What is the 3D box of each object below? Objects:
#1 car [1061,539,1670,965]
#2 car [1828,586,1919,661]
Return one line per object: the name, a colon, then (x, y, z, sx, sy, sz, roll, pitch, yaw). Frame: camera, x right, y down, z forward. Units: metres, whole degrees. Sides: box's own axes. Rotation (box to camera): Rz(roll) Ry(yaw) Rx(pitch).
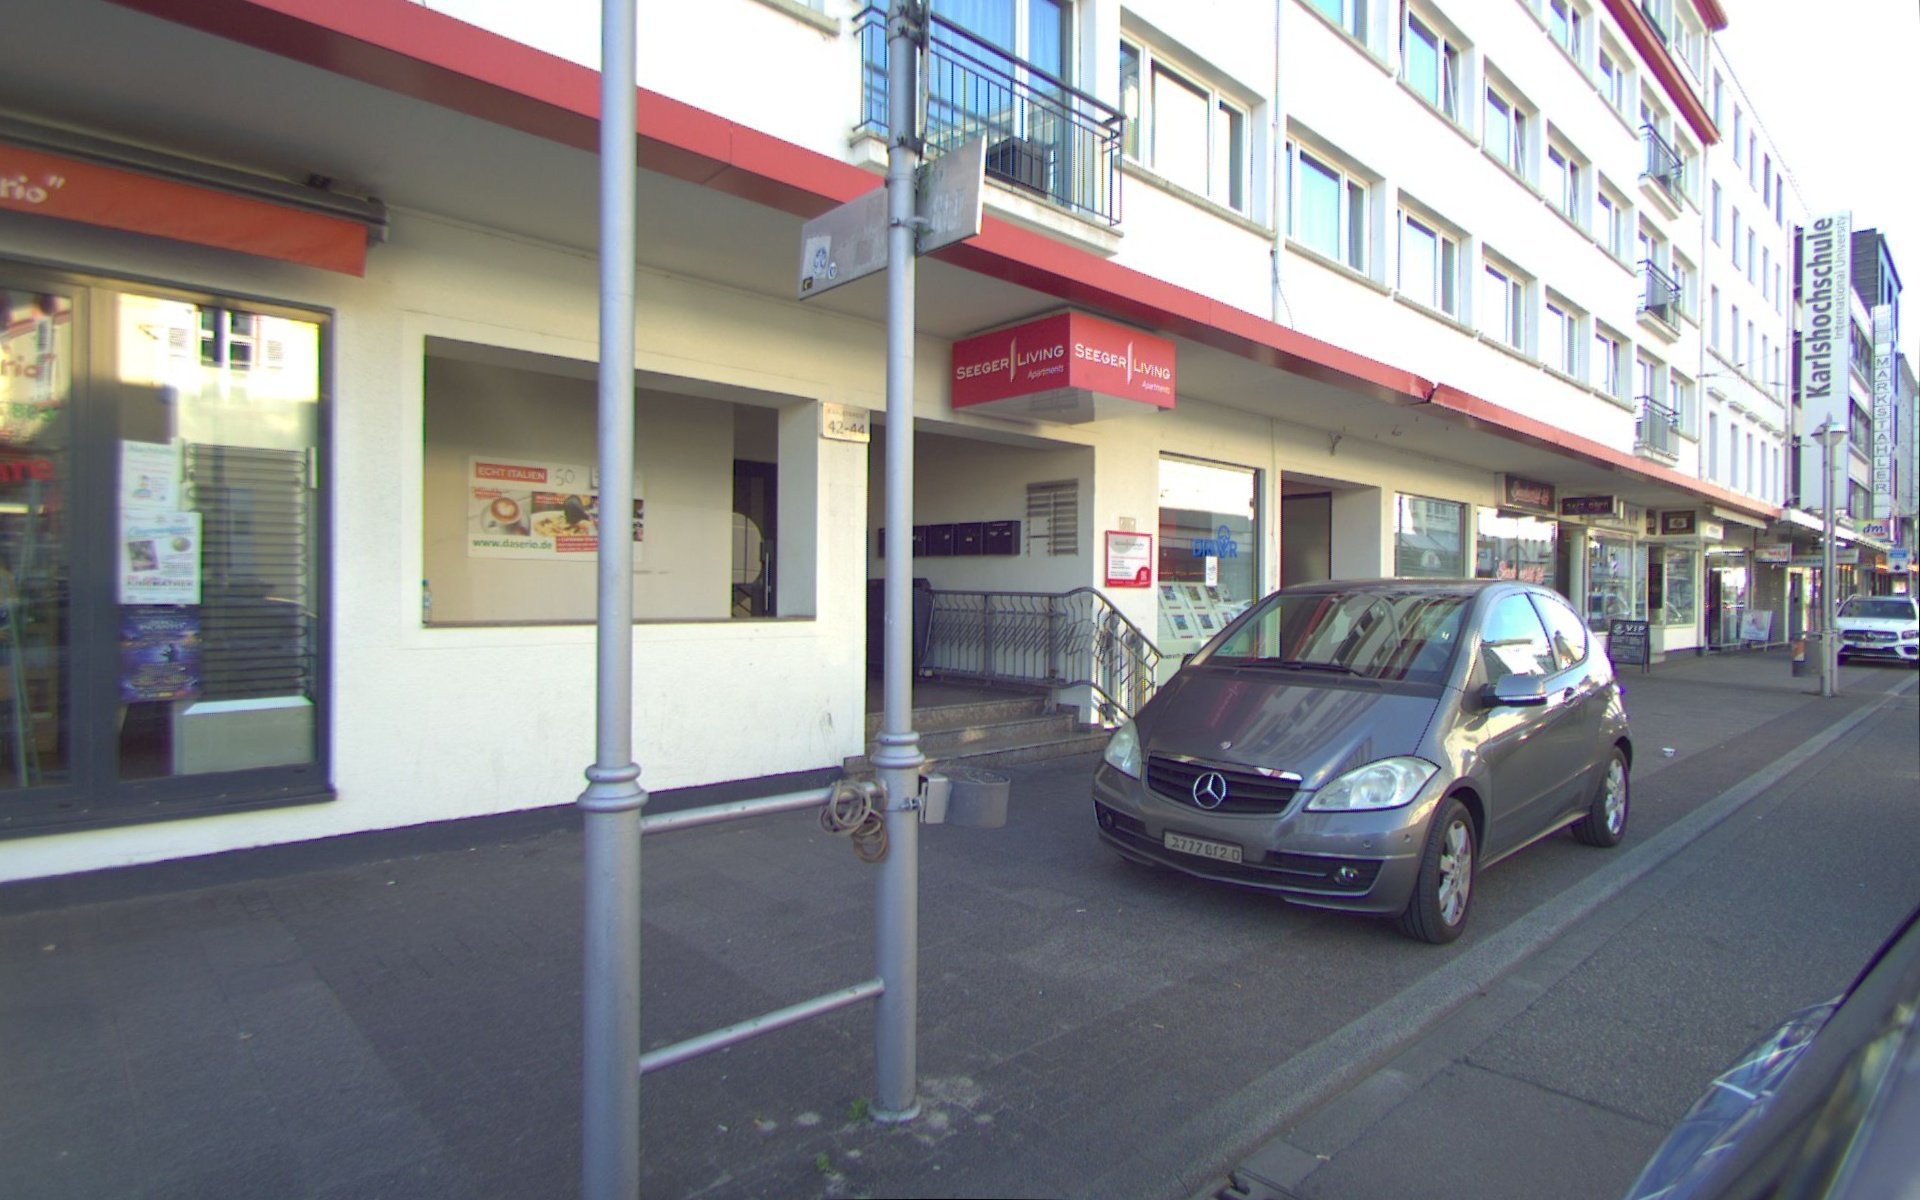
car: (2.495, 0.560, 5.689, 3.932, 1.565, 1.681, 0, 0, -43)
car: (22.397, 0.519, 24.355, 1.994, 1.650, 3.935, 1, 1, 45)
